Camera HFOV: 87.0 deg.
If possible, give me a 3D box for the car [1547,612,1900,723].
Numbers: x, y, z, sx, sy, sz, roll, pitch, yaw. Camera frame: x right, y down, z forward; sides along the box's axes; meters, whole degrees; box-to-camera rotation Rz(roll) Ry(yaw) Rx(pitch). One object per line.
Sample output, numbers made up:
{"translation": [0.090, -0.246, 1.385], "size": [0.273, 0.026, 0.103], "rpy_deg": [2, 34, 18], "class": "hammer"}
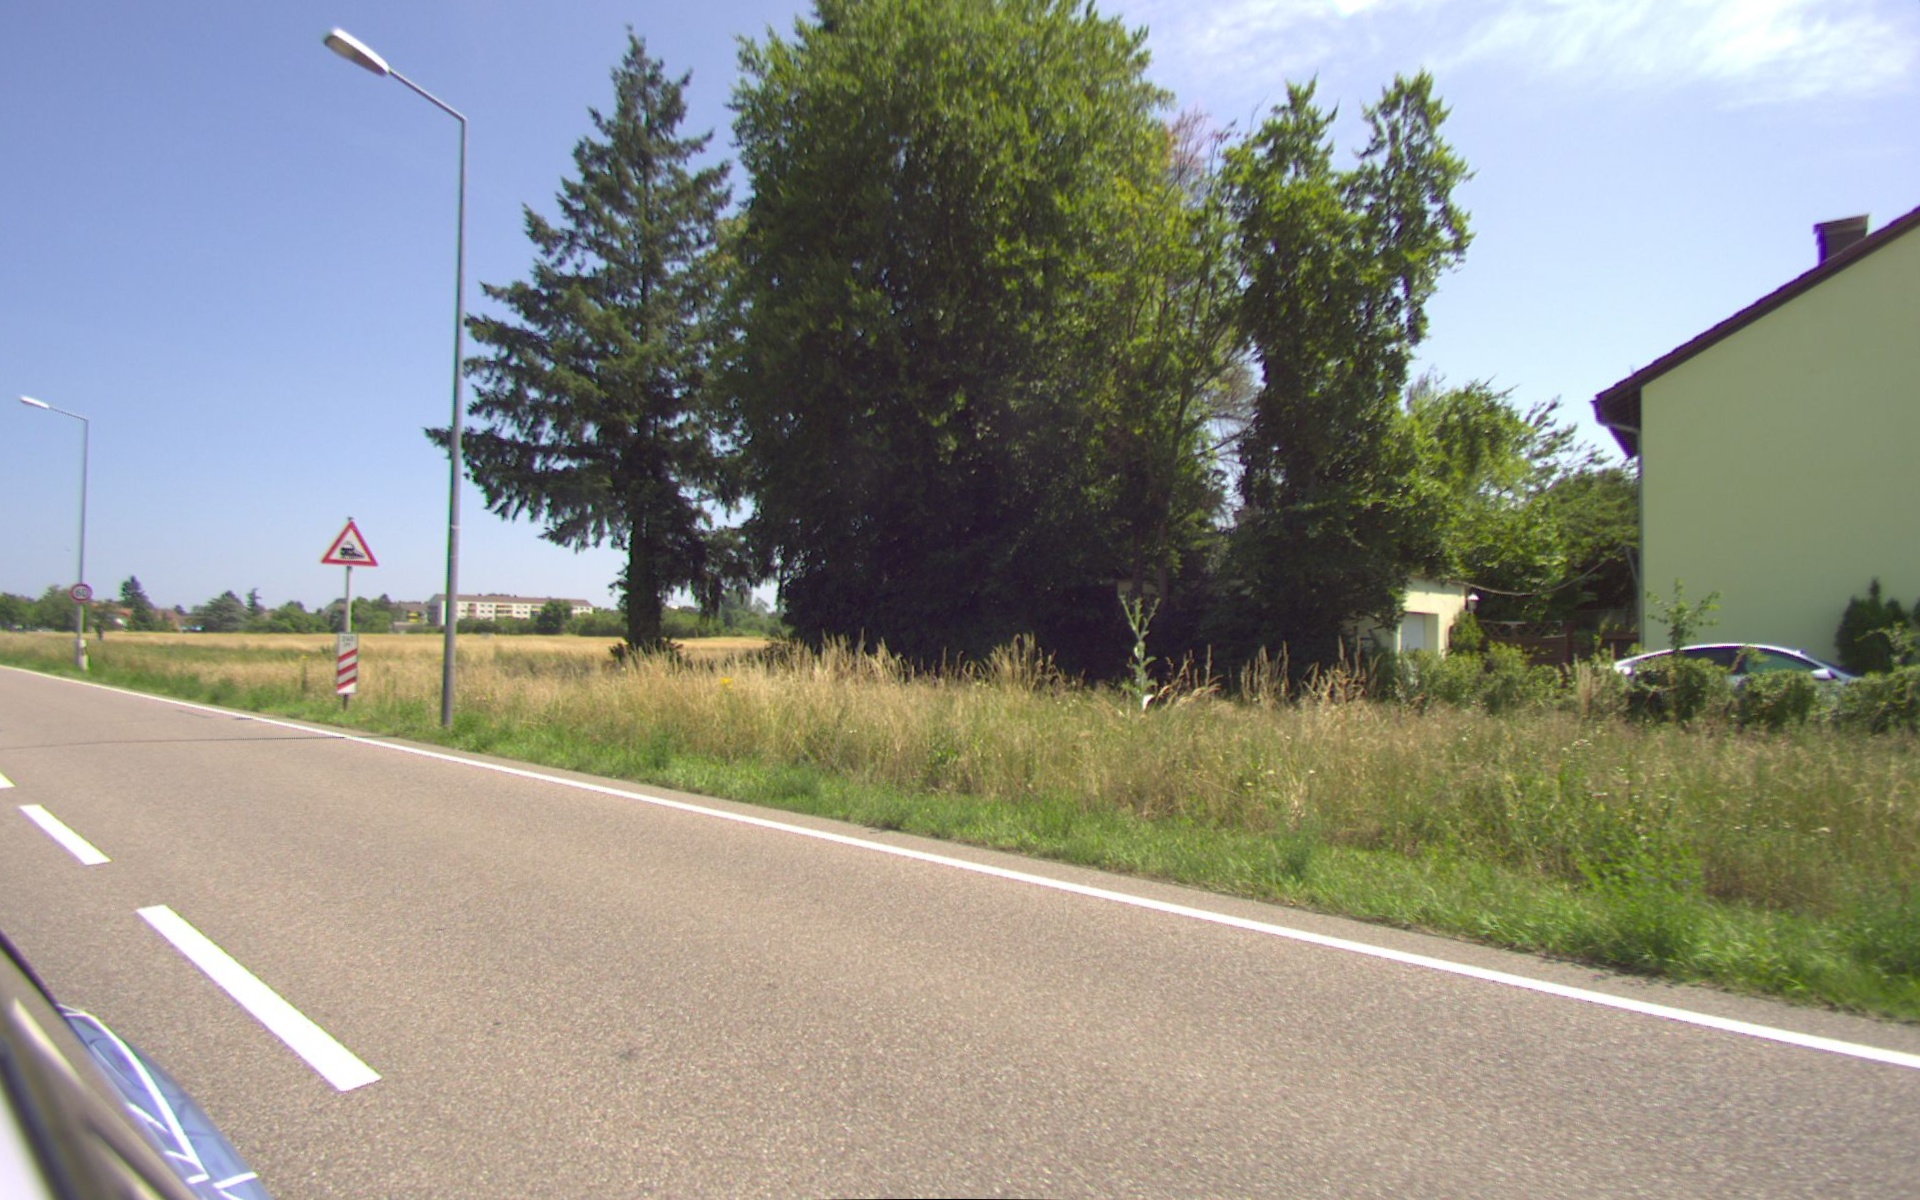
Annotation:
{"translation": [11.655, 0.956, 15.695], "size": [4.184, 1.503, 1.688], "rpy_deg": [-1, -1, 41], "class": "car"}
